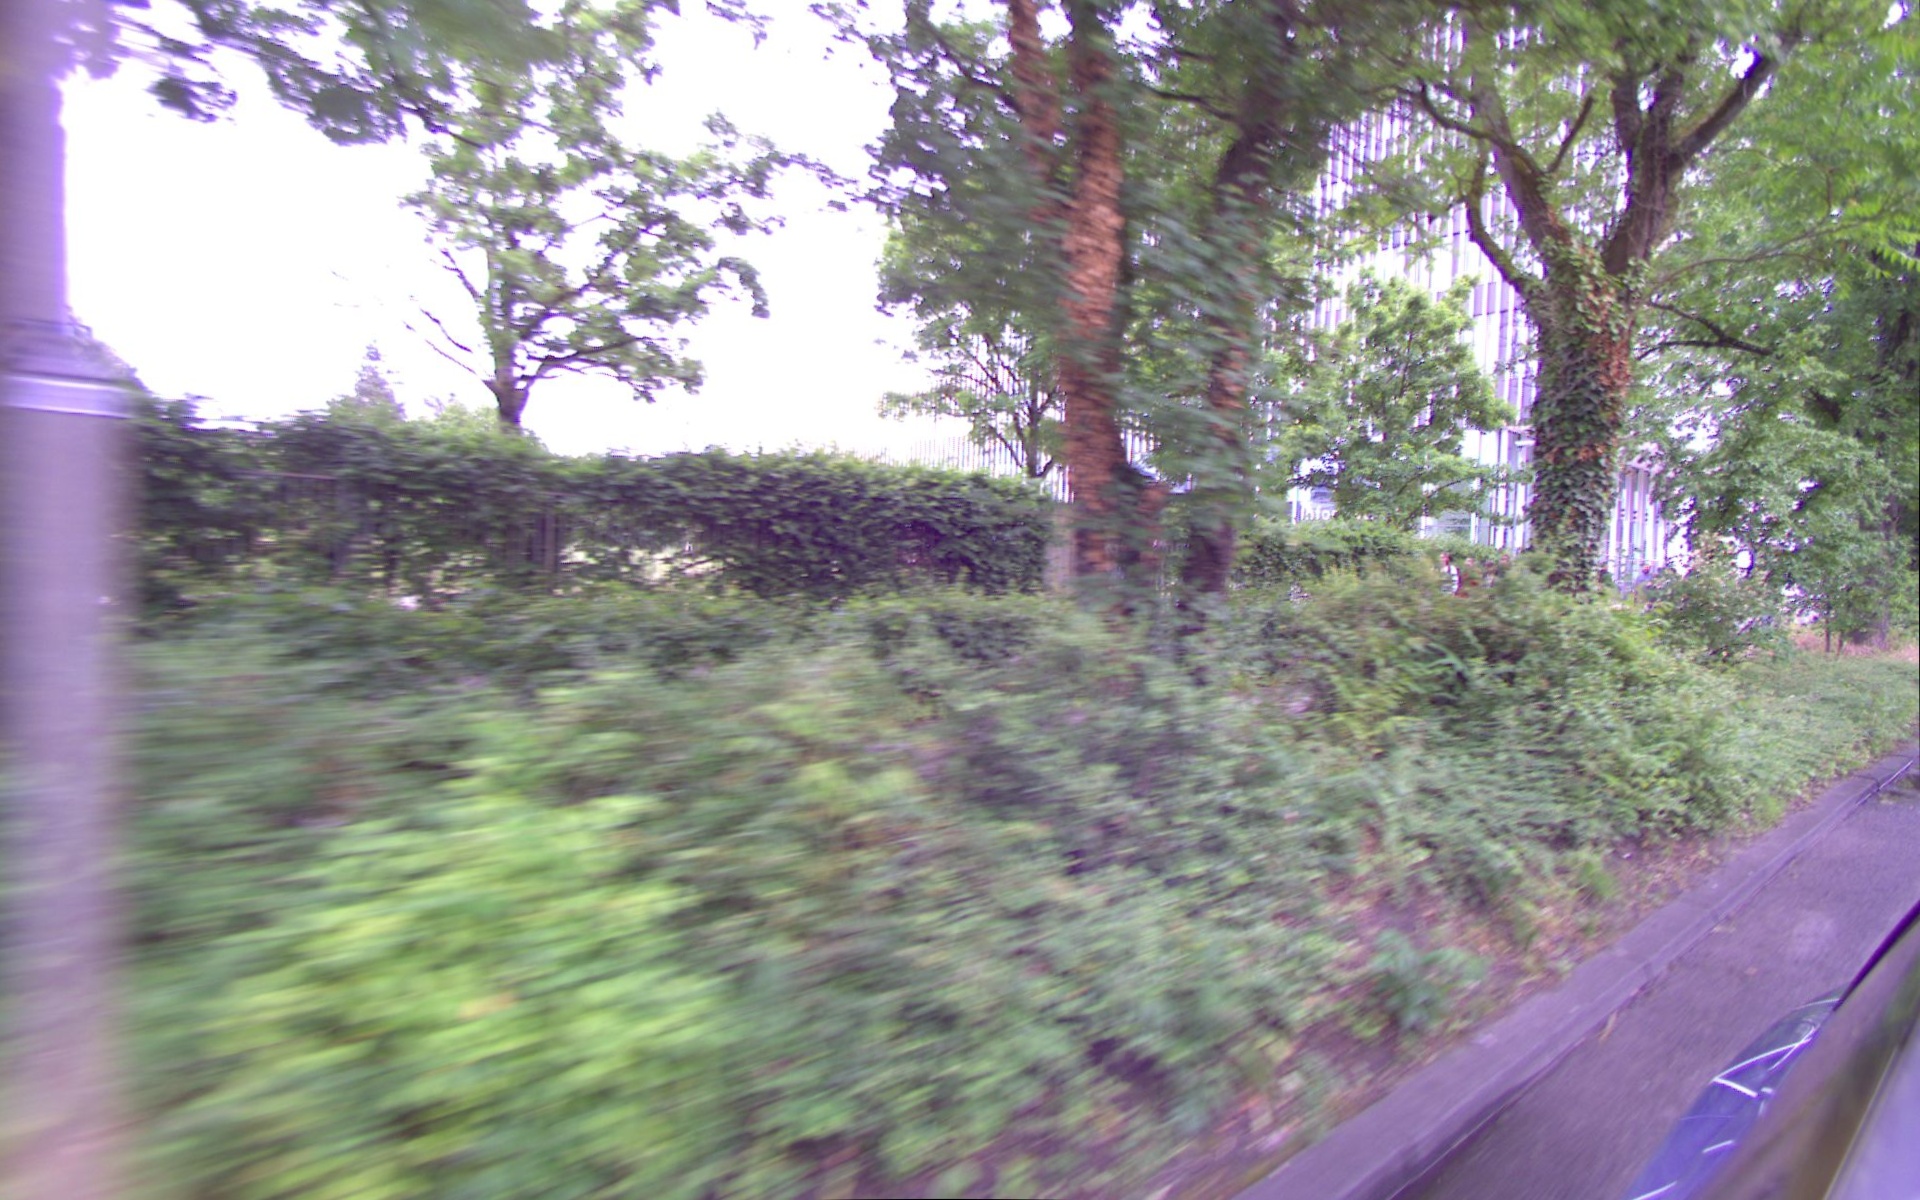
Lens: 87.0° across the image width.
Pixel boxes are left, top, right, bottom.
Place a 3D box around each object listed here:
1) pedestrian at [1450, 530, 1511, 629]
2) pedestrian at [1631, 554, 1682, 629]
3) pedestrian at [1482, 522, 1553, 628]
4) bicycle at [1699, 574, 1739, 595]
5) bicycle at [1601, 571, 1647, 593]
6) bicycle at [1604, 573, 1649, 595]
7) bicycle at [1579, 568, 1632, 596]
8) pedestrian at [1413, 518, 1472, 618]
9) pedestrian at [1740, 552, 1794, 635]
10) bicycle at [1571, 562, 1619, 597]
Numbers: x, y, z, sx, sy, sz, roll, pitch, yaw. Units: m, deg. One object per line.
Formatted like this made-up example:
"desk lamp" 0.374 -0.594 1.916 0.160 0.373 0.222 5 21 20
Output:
"pedestrian" 11.005 -0.442 21.408 0.708 2.038 0.826 0 4 -41
"pedestrian" 19.702 -0.259 28.641 1.023 2.038 0.926 0 3 -45
"pedestrian" 11.157 -0.517 20.254 1.023 2.038 0.926 0 3 -45
"bicycle" 44.192 -0.907 58.932 0.561 1.104 1.652 1 5 -32
"bicycle" 30.151 -0.808 45.986 0.546 0.885 1.610 0 4 -40
"bicycle" 30.740 -0.740 46.676 0.546 0.885 1.610 0 4 -40
"bicycle" 28.581 -0.789 44.807 0.615 1.094 1.798 0 5 -42
"pedestrian" 10.188 -0.685 21.389 0.708 2.038 0.825 0 3 -41
"pedestrian" 20.425 -0.175 25.610 0.879 2.038 0.844 0 3 -41
"bicycle" 27.319 -0.900 43.594 0.453 1.349 1.657 1 5 -27
